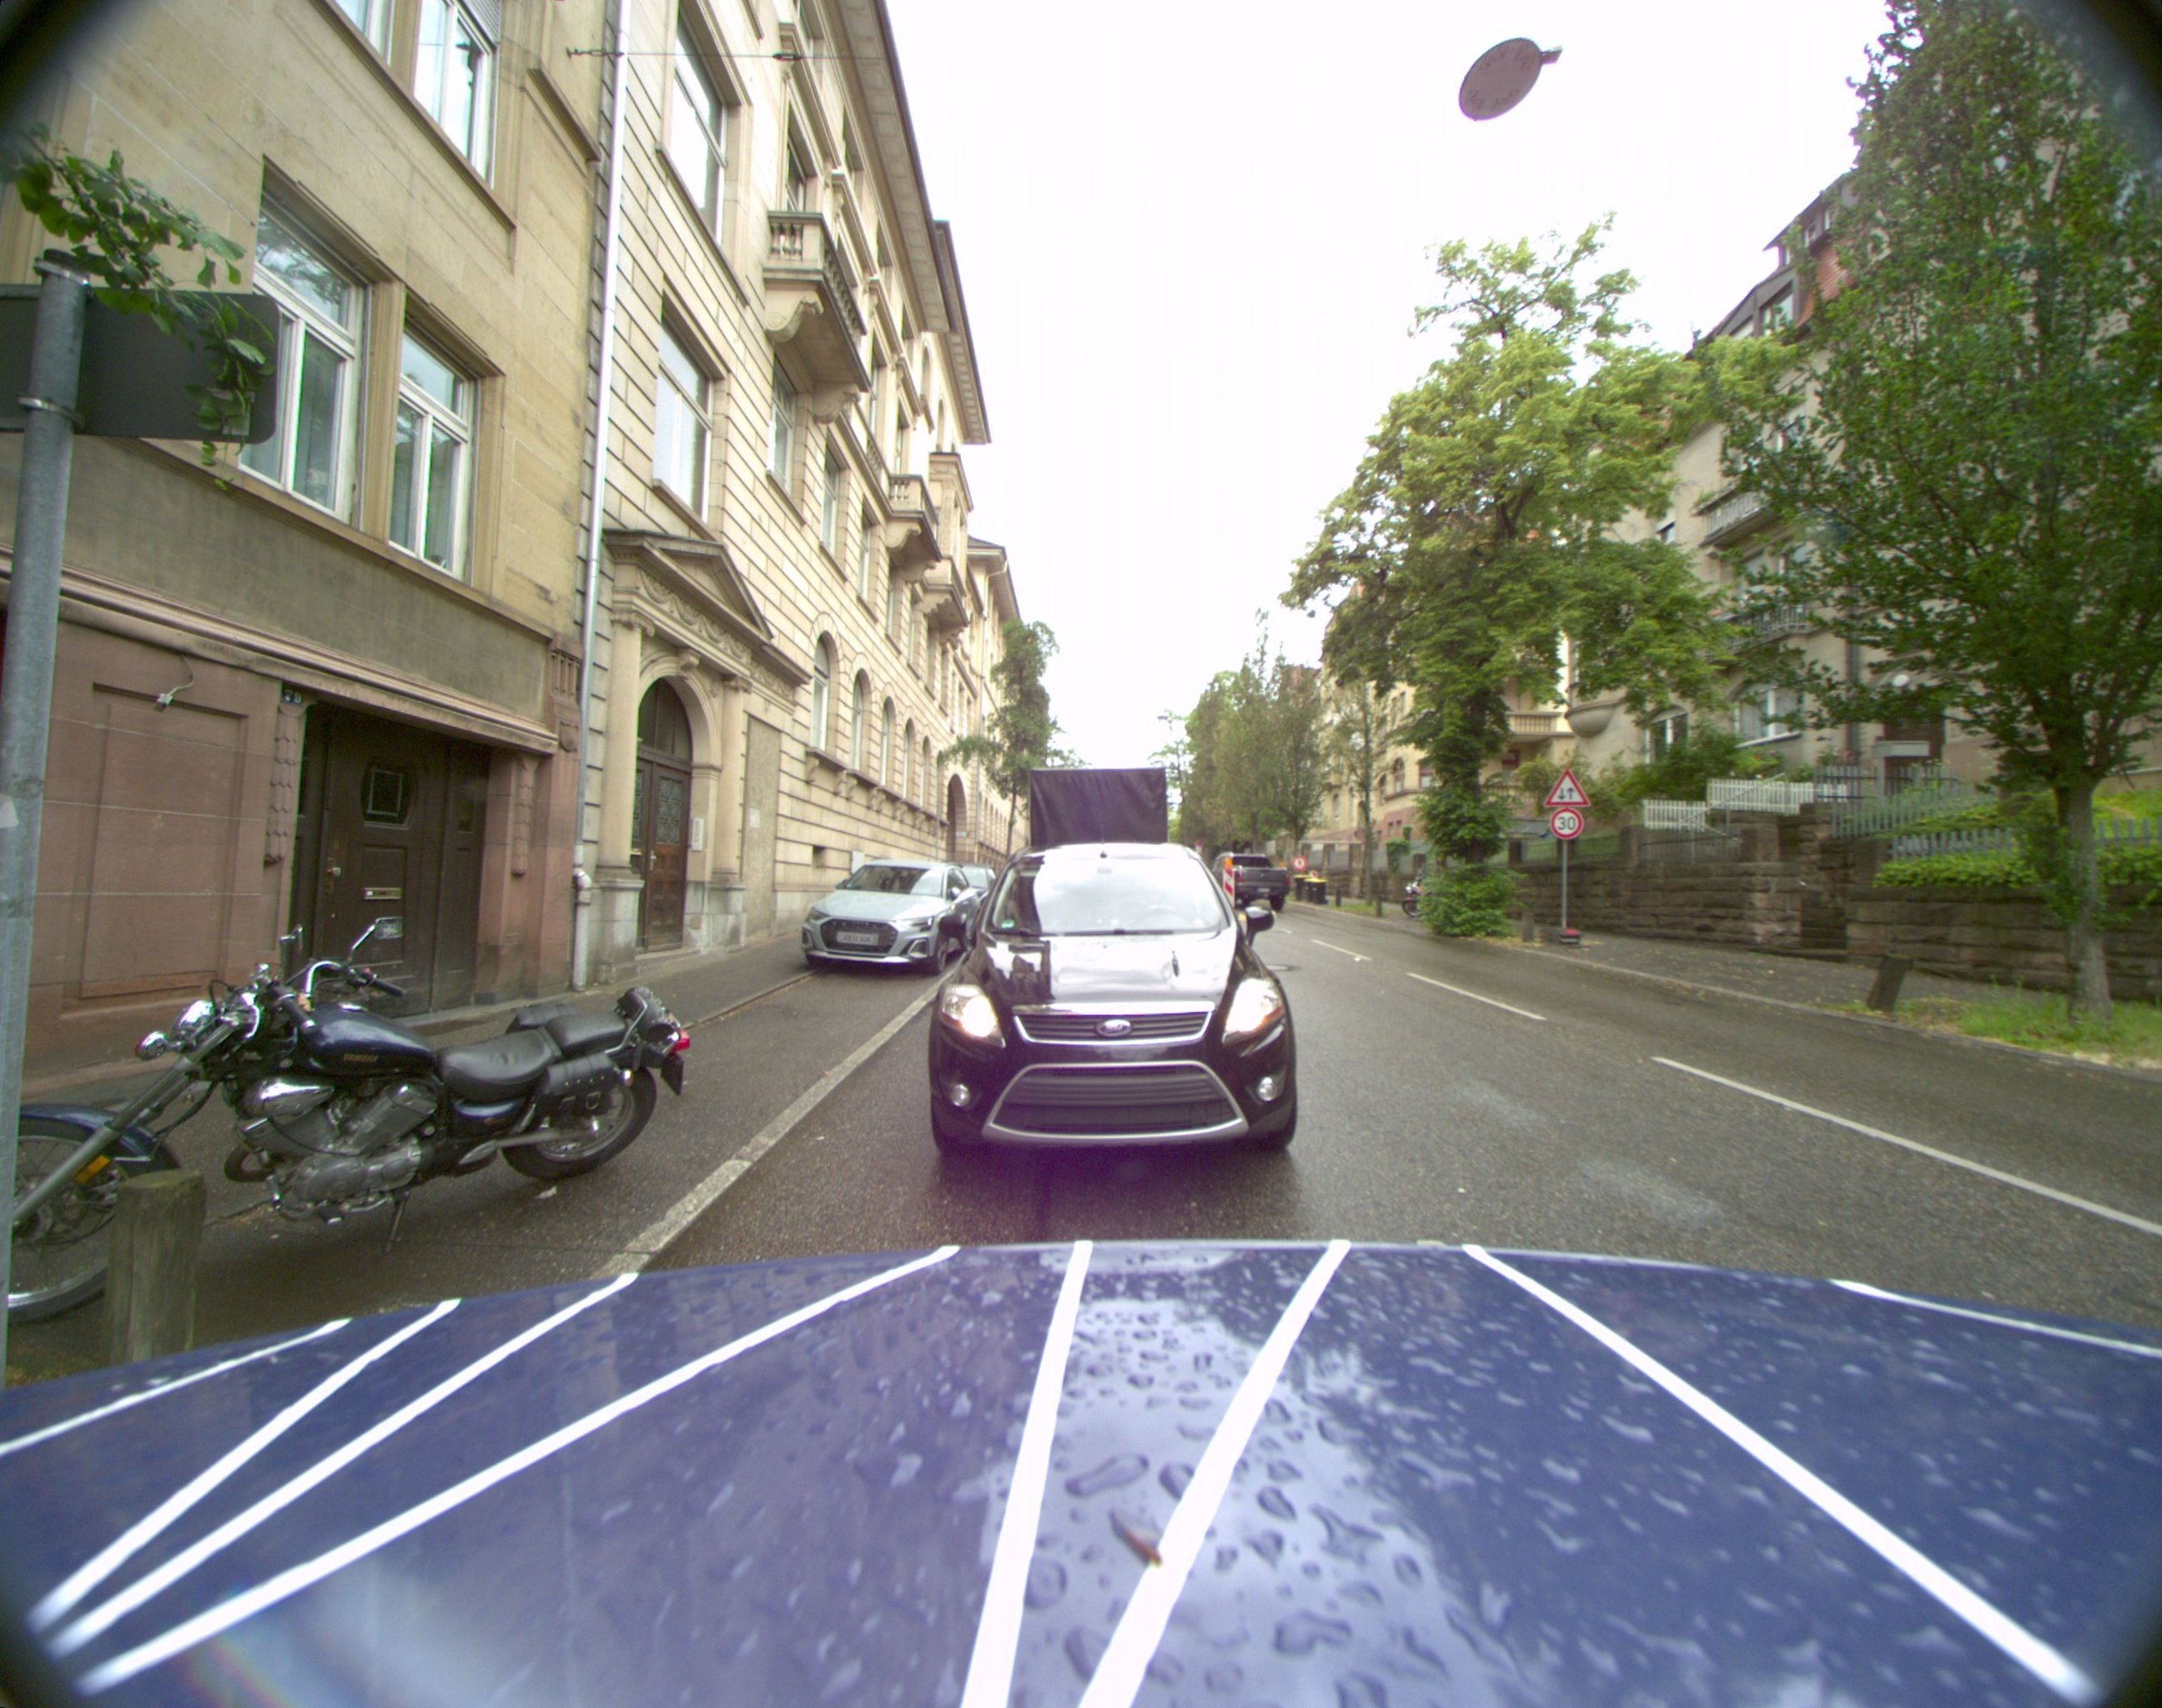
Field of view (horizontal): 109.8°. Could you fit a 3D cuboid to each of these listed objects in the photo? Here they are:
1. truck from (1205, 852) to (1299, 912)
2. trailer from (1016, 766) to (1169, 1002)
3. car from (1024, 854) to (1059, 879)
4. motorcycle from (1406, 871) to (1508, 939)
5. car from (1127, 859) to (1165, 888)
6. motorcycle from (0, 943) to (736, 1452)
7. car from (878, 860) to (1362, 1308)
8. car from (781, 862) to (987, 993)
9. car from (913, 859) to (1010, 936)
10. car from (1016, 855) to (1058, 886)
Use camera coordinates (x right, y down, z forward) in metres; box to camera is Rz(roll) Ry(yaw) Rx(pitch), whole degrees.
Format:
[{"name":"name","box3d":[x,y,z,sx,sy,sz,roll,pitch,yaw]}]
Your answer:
[{"name":"truck","box3d":[5.793,0.896,26.452,2.075,1.825,5.154,2,0,1]},{"name":"trailer","box3d":[0.136,0.337,11.305,1.783,2.744,4.816,0,1,0]},{"name":"car","box3d":[-2.587,0.816,50.713,1.910,1.502,4.318,3,0,1]},{"name":"motorcycle","box3d":[8.907,1.152,18.191,0.802,1.406,3.061,-2,0,-2]},{"name":"car","box3d":[3.620,1.037,42.749,1.670,1.463,3.656,3,0,-1]},{"name":"motorcycle","box3d":[-2.565,1.017,2.807,0.523,1.236,2.282,3,-1,39]},{"name":"car","box3d":[0.203,0.889,5.133,1.823,1.662,4.522,0,0,1]},{"name":"car","box3d":[-2.609,0.896,11.115,1.794,1.444,4.039,3,0,1]},{"name":"car","box3d":[-2.538,0.889,16.789,1.495,1.440,3.181,3,0,1]},{"name":"car","box3d":[-2.380,0.886,42.456,1.910,1.502,4.318,3,0,1]}]
